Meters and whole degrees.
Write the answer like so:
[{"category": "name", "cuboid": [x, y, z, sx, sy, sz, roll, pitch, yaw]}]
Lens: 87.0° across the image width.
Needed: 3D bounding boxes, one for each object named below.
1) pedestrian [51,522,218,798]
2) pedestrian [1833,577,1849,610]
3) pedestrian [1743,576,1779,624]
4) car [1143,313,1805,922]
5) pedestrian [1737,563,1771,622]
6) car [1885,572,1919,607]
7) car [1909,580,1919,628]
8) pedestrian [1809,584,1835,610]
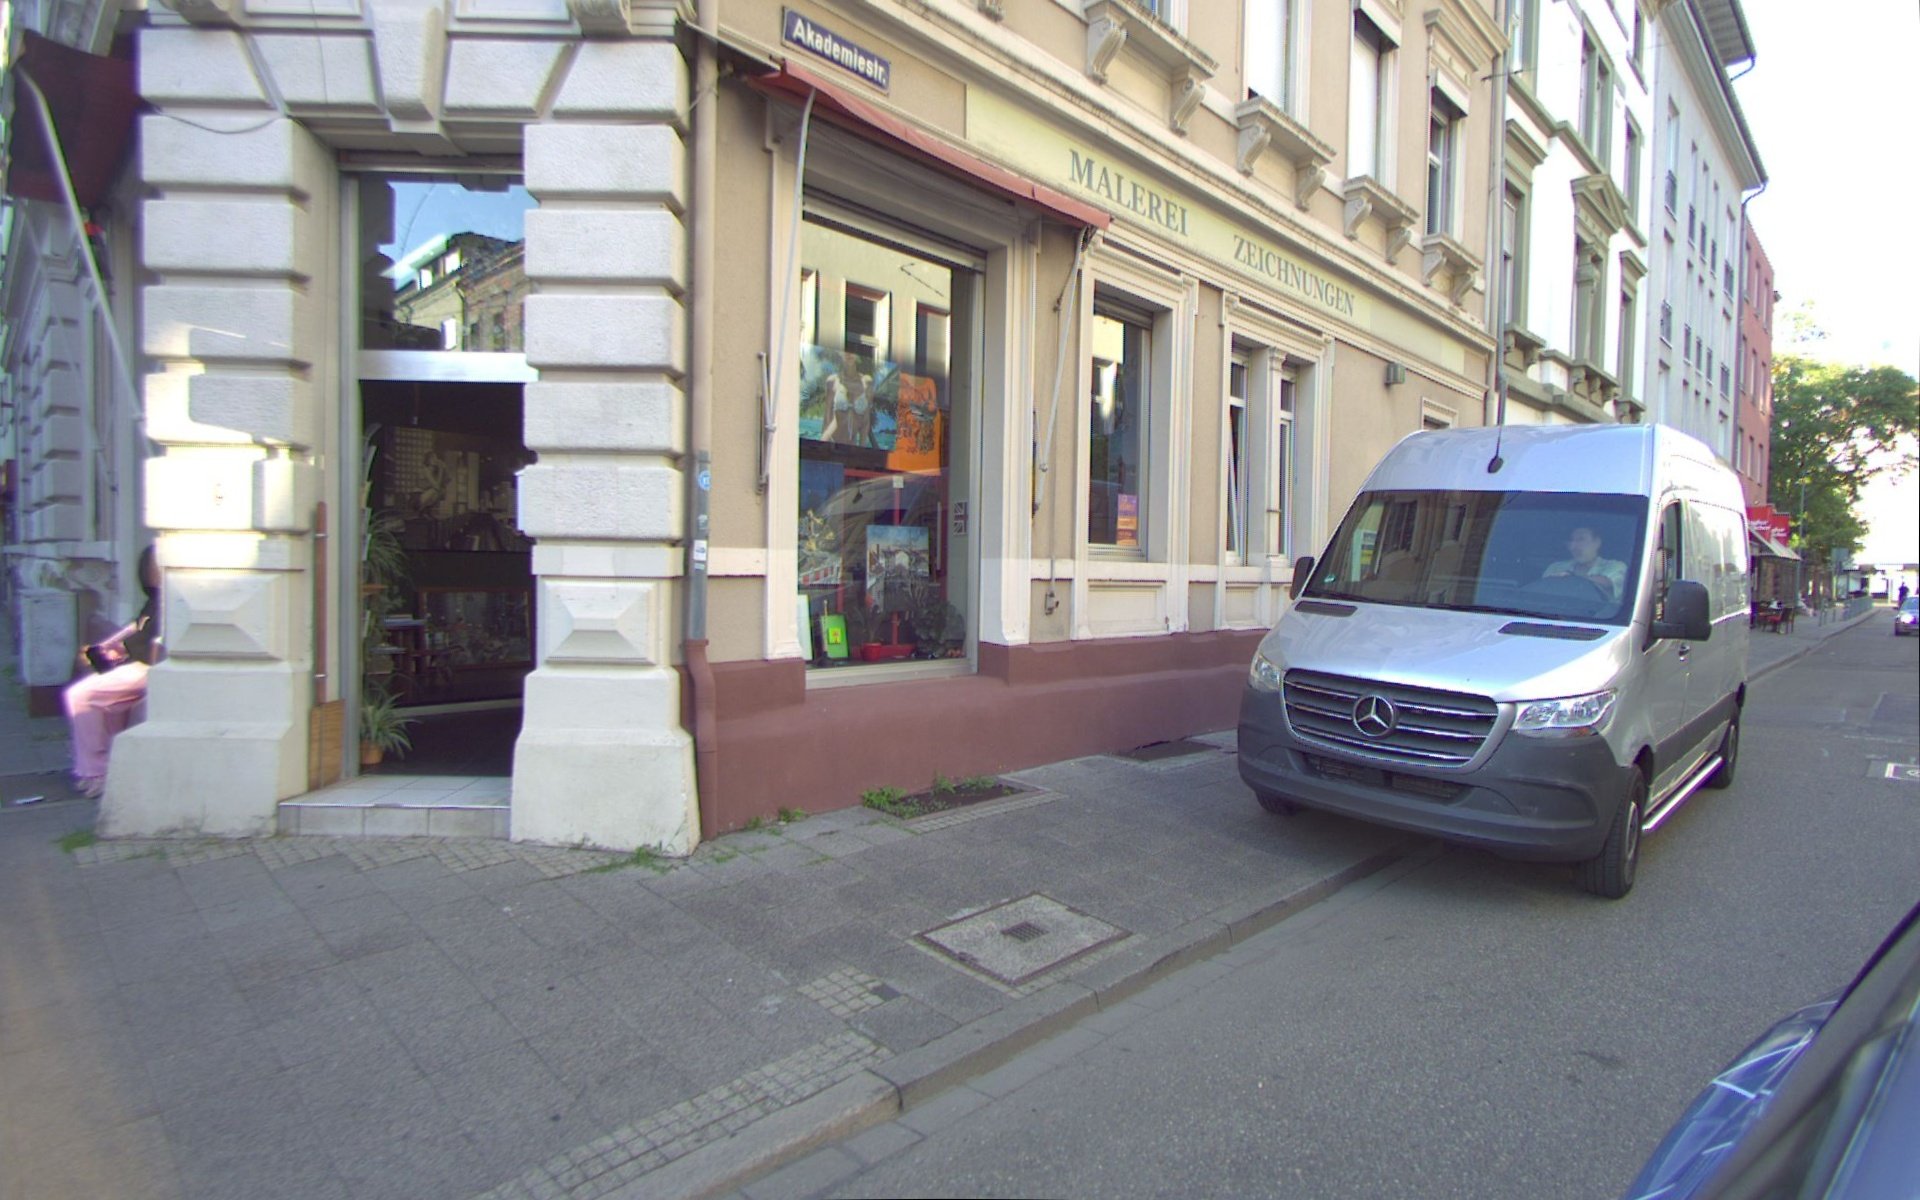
[{"category": "pedestrian", "cuboid": [-4.827, 0.315, 5.920, 0.705, 1.490, 0.579, -1, 1, -45]}, {"category": "pedestrian", "cuboid": [44.912, -0.338, 51.616, 0.547, 1.666, 0.438, 0, 3, -38]}, {"category": "pedestrian", "cuboid": [25.909, -0.018, 32.728, 0.825, 1.504, 0.650, 3, 2, 44]}, {"category": "car", "cuboid": [4.013, 0.004, 7.069, 6.102, 2.469, 2.279, -1, 2, -45]}, {"category": "pedestrian", "cuboid": [25.347, -0.248, 32.307, 0.656, 1.814, 0.722, 5, 4, 34]}, {"category": "car", "cuboid": [58.859, -0.655, 62.542, 3.930, 2.038, 1.998, -1, 2, -40]}, {"category": "car", "cuboid": [33.081, 0.104, 33.970, 1.784, 1.543, 3.937, 0, 0, 43]}, {"category": "pedestrian", "cuboid": [44.288, -0.153, 51.984, 0.926, 1.264, 0.357, 4, 3, 42]}]
